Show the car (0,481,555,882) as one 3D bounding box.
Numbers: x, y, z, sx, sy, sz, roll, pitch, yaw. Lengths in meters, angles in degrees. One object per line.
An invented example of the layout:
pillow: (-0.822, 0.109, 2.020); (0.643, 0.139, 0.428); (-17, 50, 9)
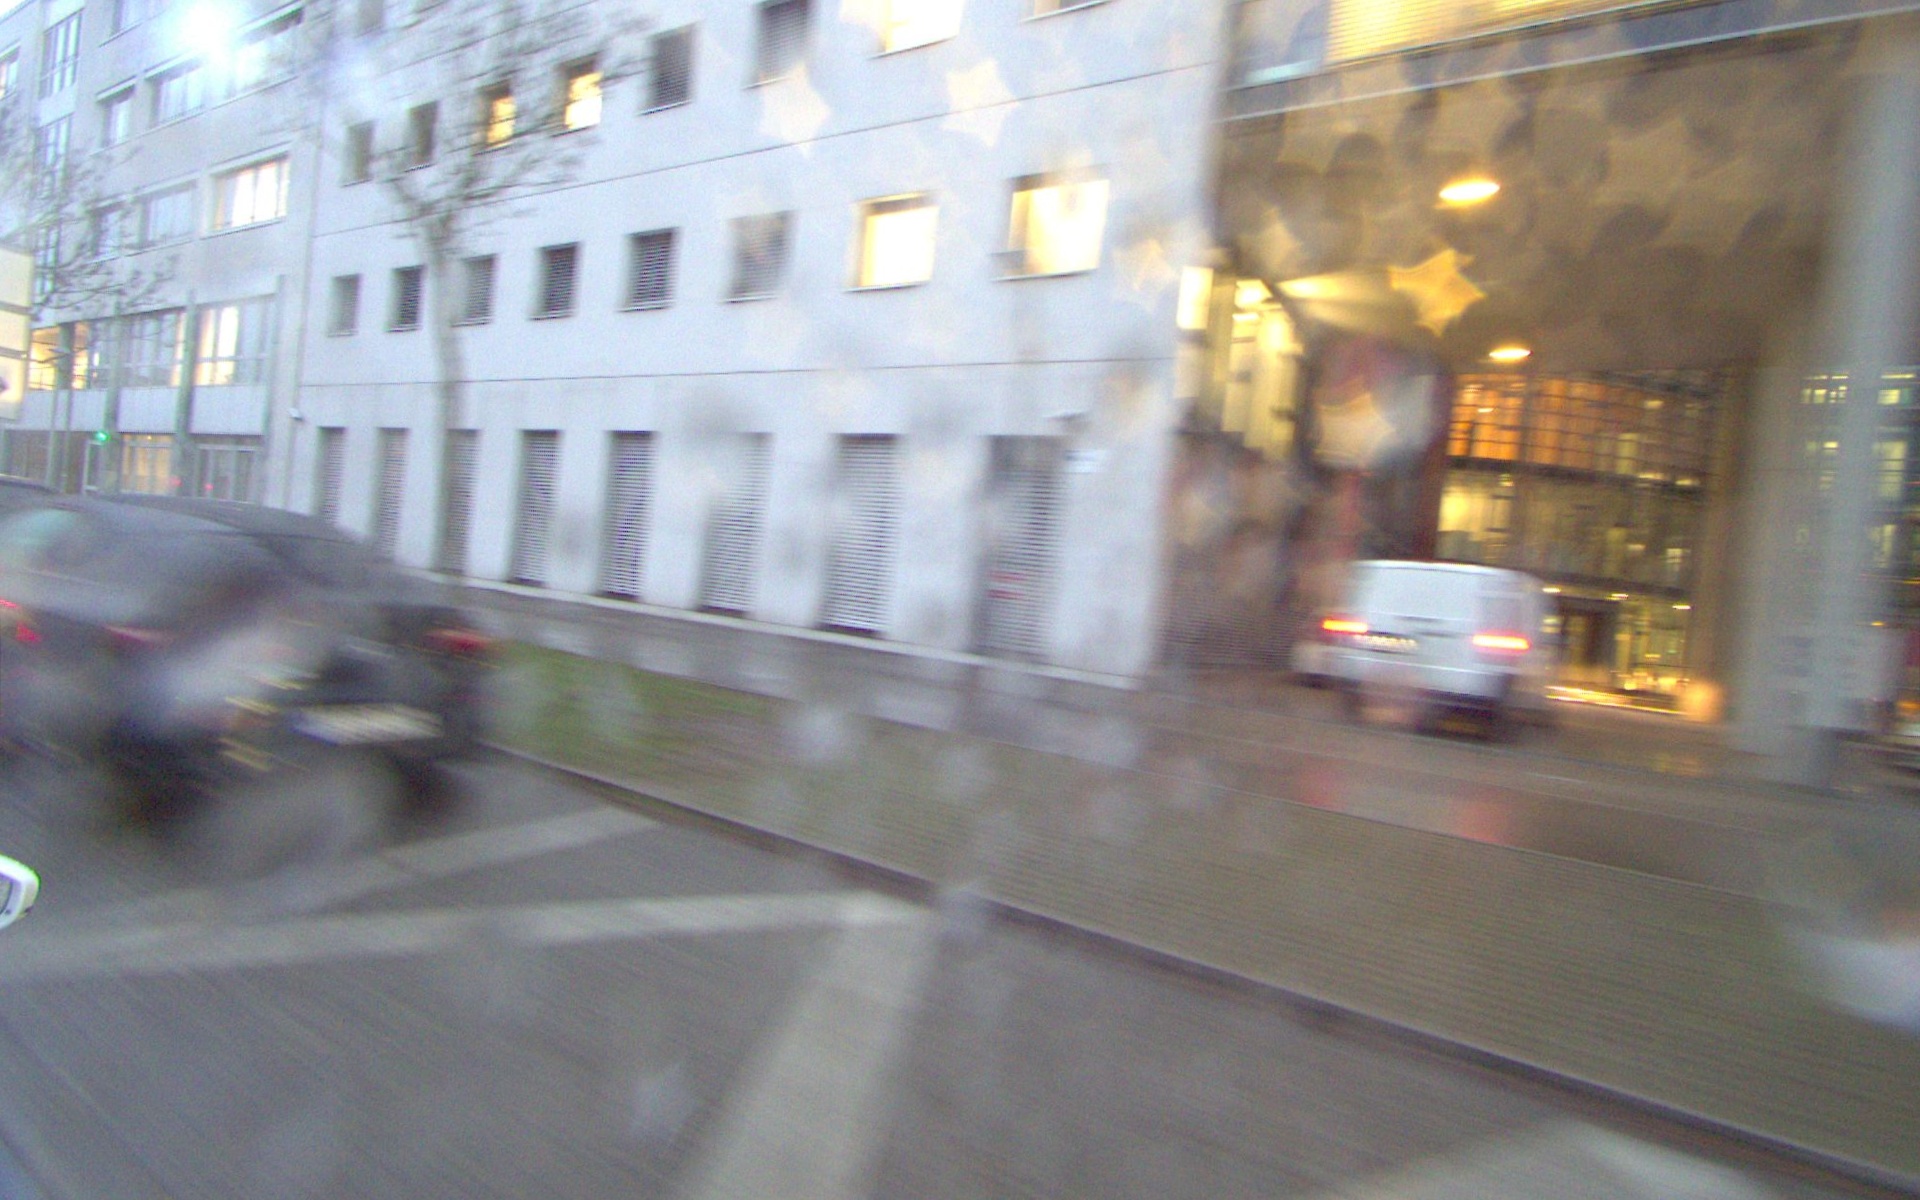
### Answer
car: (-4.331, 0.201, 5.606); (4.183, 1.420, 1.755); (7, -1, 35)

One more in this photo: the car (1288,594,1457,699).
car: (7.561, 0.871, 18.216); (1.633, 1.537, 3.982); (8, 1, 39)

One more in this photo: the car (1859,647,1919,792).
car: (11.485, 1.391, 9.246); (4.454, 1.387, 1.635); (6, -2, 30)

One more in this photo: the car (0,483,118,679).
car: (-8.523, -0.304, 8.148); (3.429, 1.413, 1.592); (7, 2, 32)

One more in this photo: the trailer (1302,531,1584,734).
trailer: (6.389, 0.497, 12.923); (2.097, 1.935, 5.066); (9, 1, 37)
